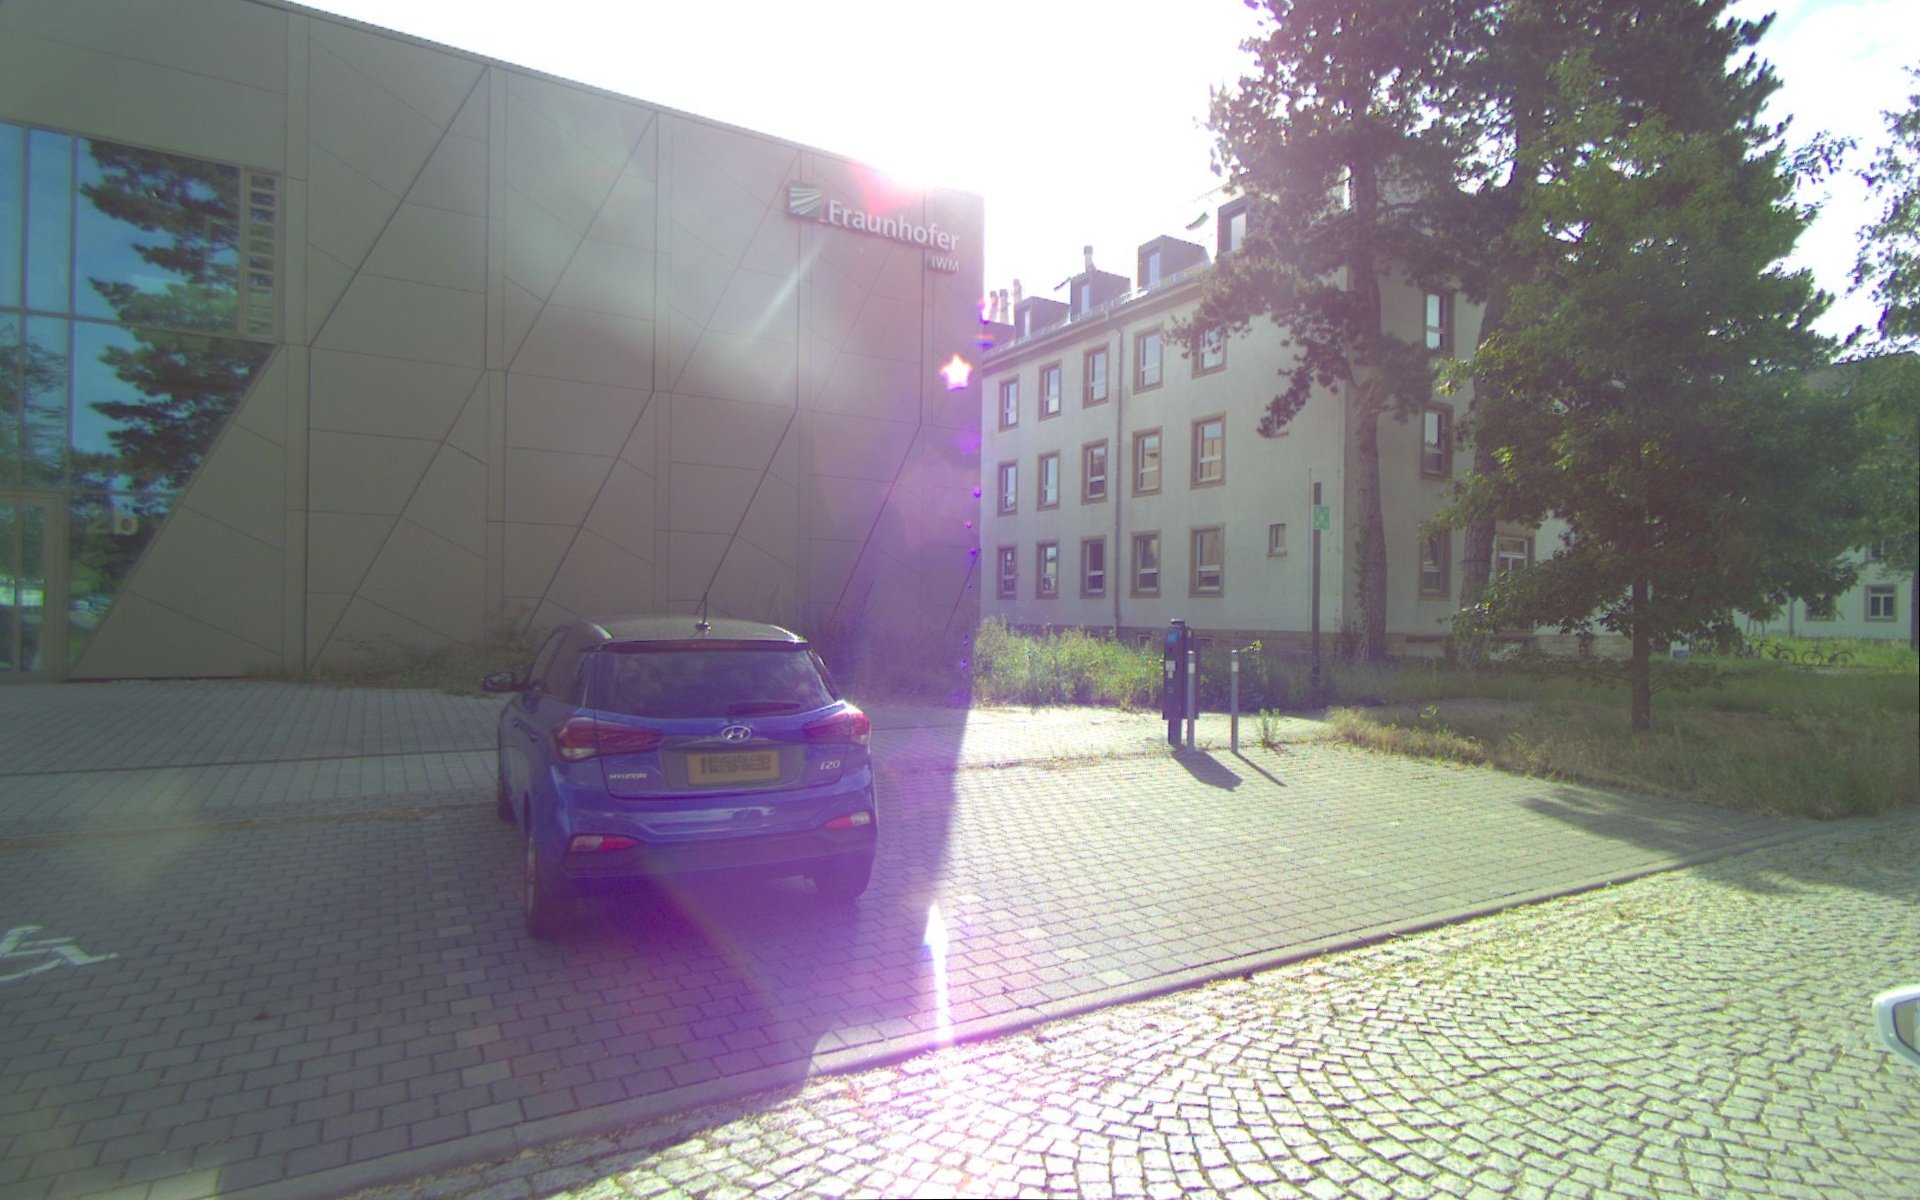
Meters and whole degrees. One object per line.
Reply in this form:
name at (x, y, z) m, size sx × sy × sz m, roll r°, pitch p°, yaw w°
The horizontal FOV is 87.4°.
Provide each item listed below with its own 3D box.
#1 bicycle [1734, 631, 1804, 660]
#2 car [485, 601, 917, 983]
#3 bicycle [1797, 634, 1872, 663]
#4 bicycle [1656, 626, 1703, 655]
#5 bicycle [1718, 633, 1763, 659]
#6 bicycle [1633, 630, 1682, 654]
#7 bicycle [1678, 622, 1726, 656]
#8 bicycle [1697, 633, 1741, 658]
bicycle at (33.288, 1.849, 41.366) m, size 0.820 × 1.123 × 2.104 m, roll 1°, pitch -1°, yaw -33°
car at (-1.884, 0.818, 6.251) m, size 1.699 × 1.483 × 3.819 m, roll 1°, pitch 1°, yaw -29°
bicycle at (34.421, 1.888, 39.578) m, size 0.820 × 1.061 × 2.104 m, roll 1°, pitch -1°, yaw -33°
bicycle at (32.458, 1.820, 45.294) m, size 2.524 × 1.298 × 0.822 m, roll 1°, pitch -1°, yaw -31°
bicycle at (33.622, 1.982, 43.266) m, size 2.100 × 1.061 × 0.822 m, roll 1°, pitch -1°, yaw -31°
bicycle at (32.010, 1.921, 46.073) m, size 2.524 × 1.061 × 0.896 m, roll 1°, pitch -1°, yaw -31°
bicycle at (33.097, 1.748, 44.780) m, size 2.524 × 1.456 × 0.822 m, roll 1°, pitch -1°, yaw -31°
bicycle at (33.198, 1.966, 43.920) m, size 2.100 × 1.061 × 0.822 m, roll 1°, pitch -1°, yaw -31°
